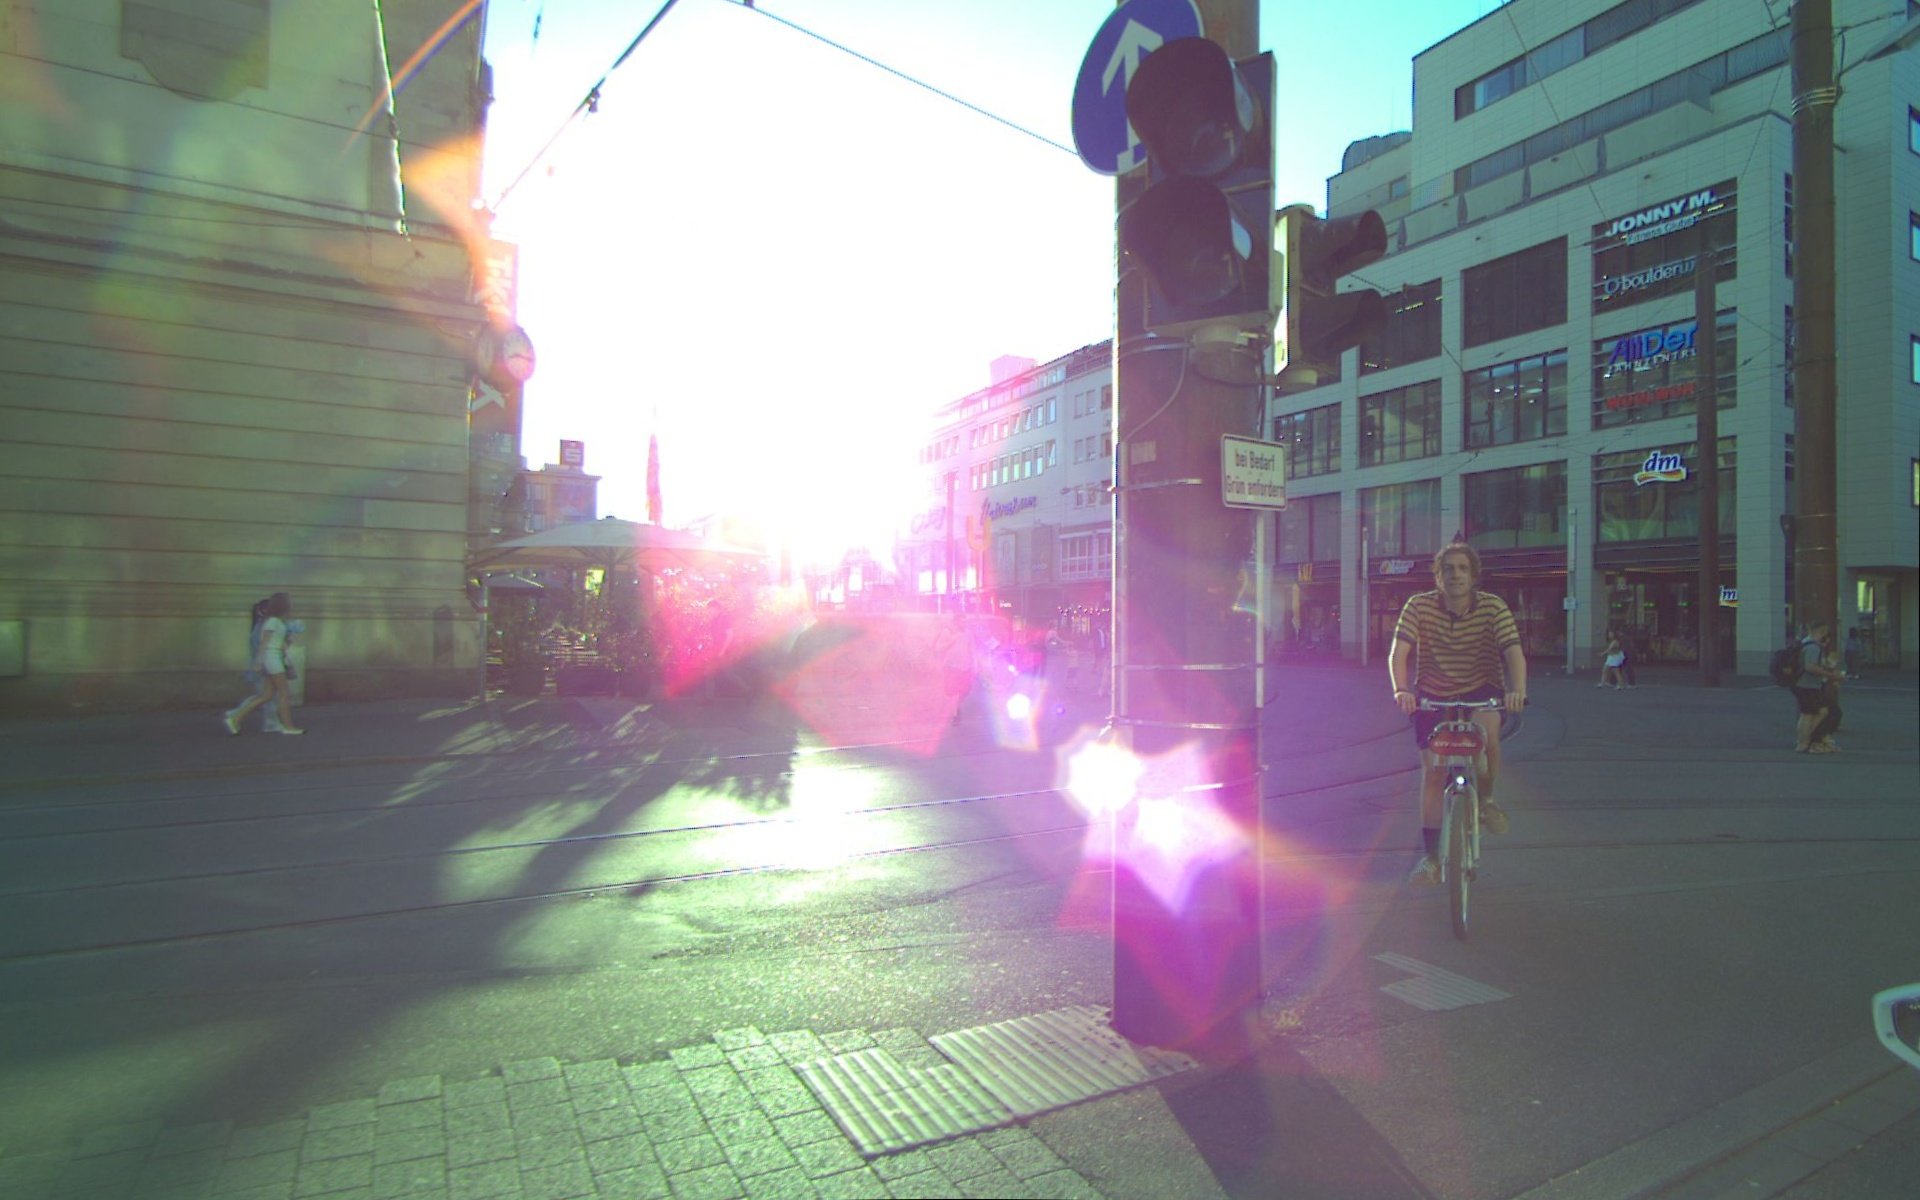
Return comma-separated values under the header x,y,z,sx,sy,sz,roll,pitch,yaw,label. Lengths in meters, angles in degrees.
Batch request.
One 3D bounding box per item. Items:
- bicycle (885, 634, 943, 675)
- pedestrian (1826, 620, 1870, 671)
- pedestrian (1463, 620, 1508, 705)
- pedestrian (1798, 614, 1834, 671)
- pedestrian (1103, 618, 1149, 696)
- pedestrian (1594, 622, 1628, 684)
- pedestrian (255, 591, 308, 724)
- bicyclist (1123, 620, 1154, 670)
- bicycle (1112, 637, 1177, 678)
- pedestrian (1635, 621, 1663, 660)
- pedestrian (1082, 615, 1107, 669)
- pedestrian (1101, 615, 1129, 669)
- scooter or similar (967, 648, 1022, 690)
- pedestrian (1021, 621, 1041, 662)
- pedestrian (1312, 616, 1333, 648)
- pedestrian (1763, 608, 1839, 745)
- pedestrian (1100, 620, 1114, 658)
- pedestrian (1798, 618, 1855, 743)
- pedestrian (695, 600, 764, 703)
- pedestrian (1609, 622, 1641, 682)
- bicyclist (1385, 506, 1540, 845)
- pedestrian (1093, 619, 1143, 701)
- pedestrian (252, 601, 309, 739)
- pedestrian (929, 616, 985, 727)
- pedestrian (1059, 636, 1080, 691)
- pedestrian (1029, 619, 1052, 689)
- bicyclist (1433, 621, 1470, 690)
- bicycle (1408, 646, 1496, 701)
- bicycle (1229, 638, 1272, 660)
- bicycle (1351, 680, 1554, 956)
x,y,z,sx,sy,sz,roll,pitch,yaw,label
-1.287,1.527,28.272,1.560,1.100,0.448,1,0,-27,bicycle
30.022,1.544,33.969,0.803,1.681,0.766,1,0,-15,pedestrian
10.763,1.269,20.580,0.522,1.696,0.648,1,-1,-20,pedestrian
28.832,1.421,33.829,0.803,1.879,0.572,1,0,-17,pedestrian
3.574,1.217,21.617,0.760,1.635,0.665,-1,-1,36,pedestrian
17.895,1.446,27.619,0.642,1.696,0.526,1,-1,-28,pedestrian
-8.136,0.673,12.058,0.496,1.545,0.515,1,-1,-33,pedestrian
5.433,1.369,30.597,0.856,1.484,0.600,1,0,14,bicyclist
5.616,1.738,30.558,1.880,1.130,0.701,1,0,14,bicycle
27.806,1.619,40.549,0.778,1.547,0.572,1,0,-17,pedestrian
4.306,1.335,32.196,0.641,1.696,0.527,1,-1,-22,pedestrian
4.999,1.352,32.466,0.743,1.696,0.527,1,-1,-22,pedestrian
0.800,1.587,23.401,0.879,0.916,1.089,1,-1,-27,scooter or similar
2.949,1.721,41.892,0.642,1.696,0.526,1,-1,-28,pedestrian
19.298,1.703,53.460,0.675,1.702,0.810,1,0,-28,pedestrian
10.953,0.967,13.098,0.735,1.722,0.607,0,-1,39,pedestrian
6.448,1.700,44.200,0.573,1.658,0.685,0,-1,6,pedestrian
11.517,1.054,13.364,0.563,1.614,0.446,0,-1,41,pedestrian
-3.833,0.834,16.689,0.960,1.650,0.685,1,-1,-30,pedestrian
18.976,1.482,28.677,0.642,1.696,0.526,1,-1,-28,pedestrian
2.655,0.369,5.288,0.600,1.614,0.789,0,-1,37,bicyclist
3.274,1.222,20.803,0.810,1.635,0.691,-1,-1,36,pedestrian
-7.845,0.790,11.591,0.498,1.545,0.521,1,-1,-38,pedestrian
-0.035,1.083,15.534,0.787,1.650,0.835,0,0,6,pedestrian
2.572,1.491,23.619,0.404,1.259,0.485,0,-1,18,pedestrian
1.872,1.245,23.386,0.471,1.594,0.651,0,-1,1,pedestrian
10.438,1.175,21.329,0.556,1.446,0.419,1,0,-26,bicyclist
10.452,1.548,21.327,1.995,1.112,0.571,1,0,-26,bicycle
14.016,2.340,48.488,1.888,0.999,0.451,1,0,6,bicycle
2.571,1.002,5.155,0.620,1.118,1.619,-1,-3,38,bicycle
